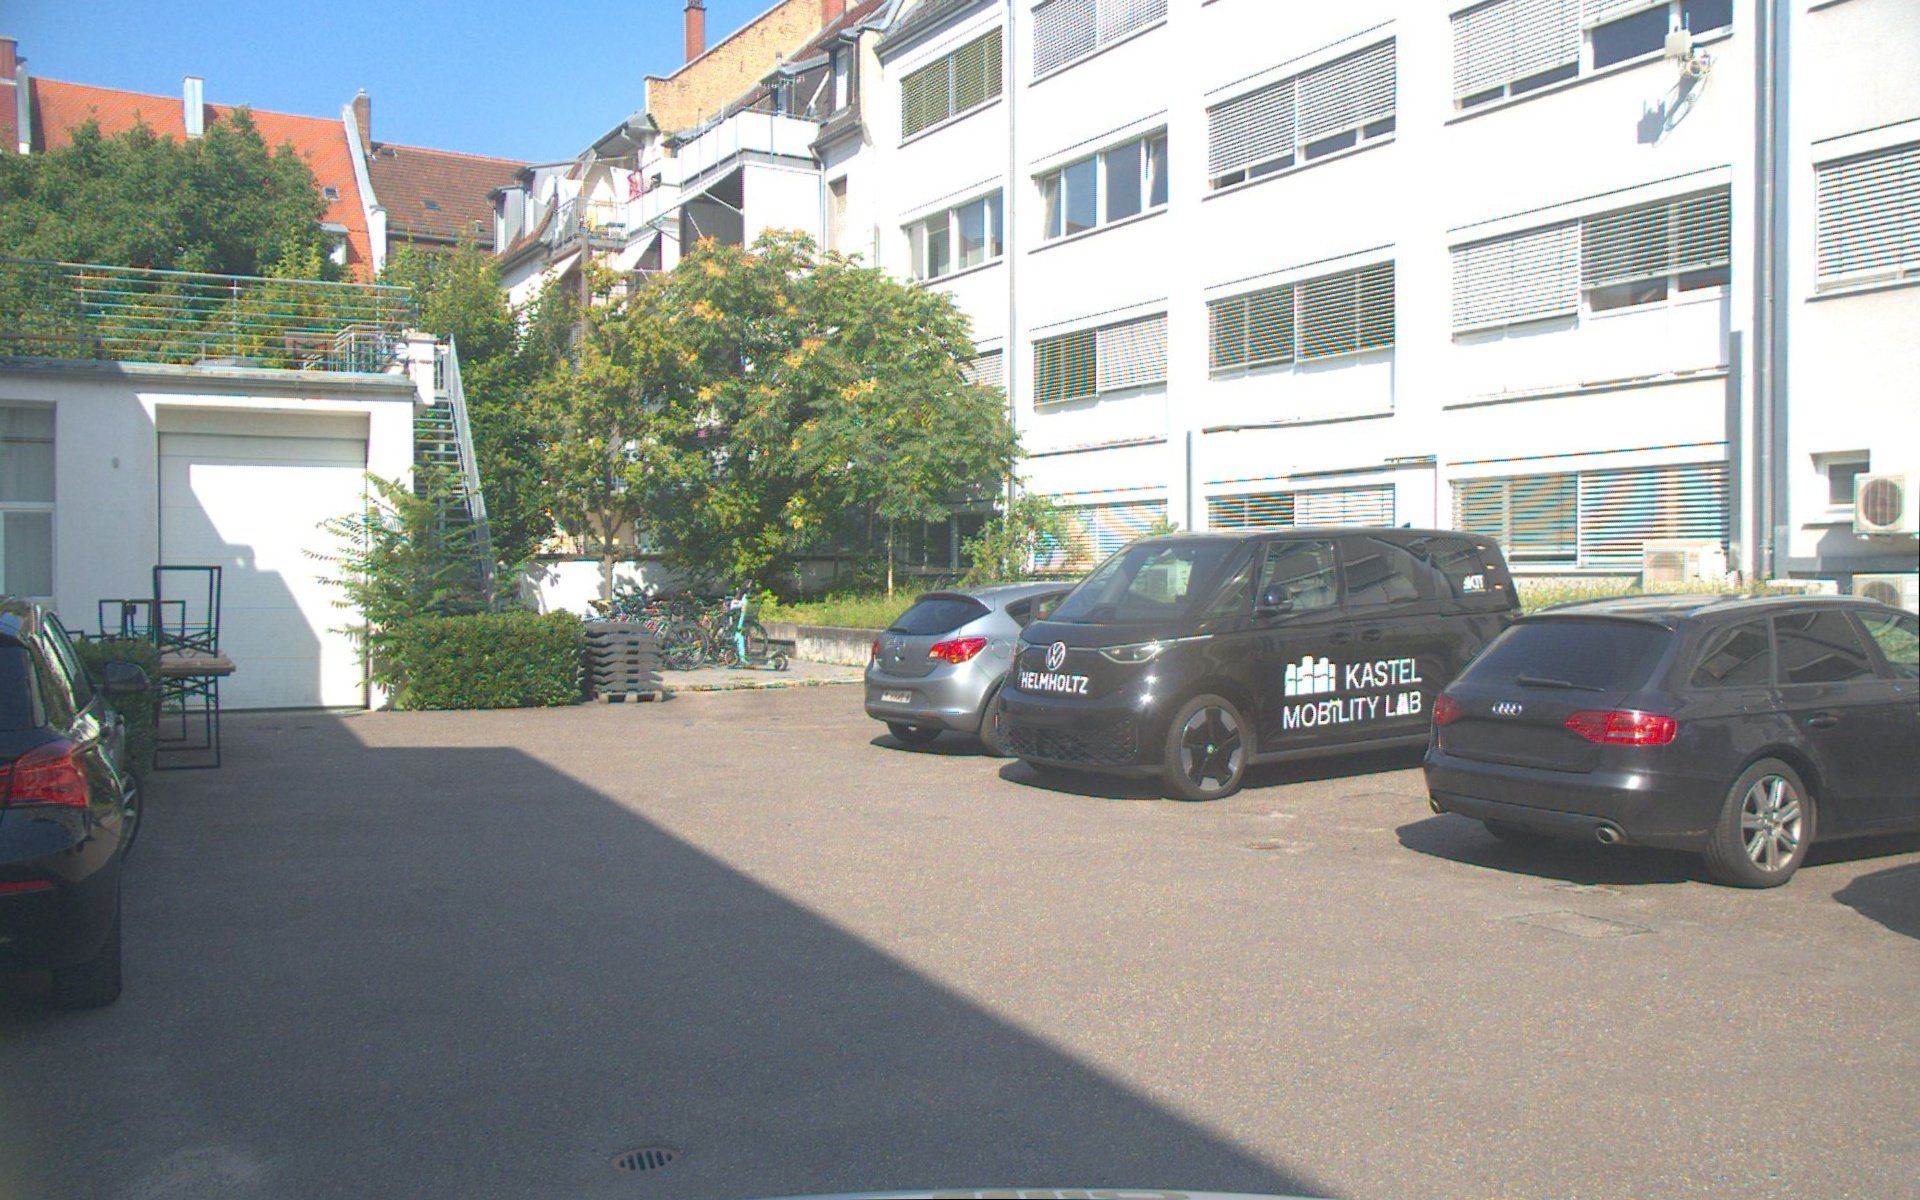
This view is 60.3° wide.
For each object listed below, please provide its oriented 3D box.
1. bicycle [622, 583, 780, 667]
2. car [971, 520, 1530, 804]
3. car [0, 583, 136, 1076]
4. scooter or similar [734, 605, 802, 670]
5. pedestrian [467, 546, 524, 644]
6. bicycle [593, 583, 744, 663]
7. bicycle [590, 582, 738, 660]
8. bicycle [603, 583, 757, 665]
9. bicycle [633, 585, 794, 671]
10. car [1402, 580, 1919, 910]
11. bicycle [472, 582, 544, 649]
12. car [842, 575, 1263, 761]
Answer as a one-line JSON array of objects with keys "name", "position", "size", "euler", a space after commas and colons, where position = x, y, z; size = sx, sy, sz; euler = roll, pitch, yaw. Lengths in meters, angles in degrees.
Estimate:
[{"name": "bicycle", "position": [-4.007, 0.376, 25.659], "size": [2.380, 1.268, 0.522], "euler": [0, 1, -26]}, {"name": "car", "position": [2.369, 0.356, 13.033], "size": [4.299, 1.891, 1.891], "euler": [-1, 2, -35]}, {"name": "car", "position": [-4.274, 0.670, 6.535], "size": [1.772, 1.453, 4.099], "euler": [0, 1, -27]}, {"name": "scooter or similar", "position": [-2.904, 0.559, 25.018], "size": [0.977, 0.940, 0.360], "euler": [1, 1, 28]}, {"name": "pedestrian", "position": [-8.704, -0.096, 31.035], "size": [0.840, 1.802, 0.612], "euler": [1, 0, 10]}, {"name": "bicycle", "position": [-4.744, 0.366, 26.959], "size": [2.381, 1.268, 0.522], "euler": [0, 1, -26]}, {"name": "bicycle", "position": [-4.919, 0.344, 27.564], "size": [2.380, 1.268, 0.522], "euler": [0, 1, -26]}, {"name": "bicycle", "position": [-4.453, 0.371, 26.365], "size": [2.380, 1.268, 0.522], "euler": [0, 1, -26]}, {"name": "bicycle", "position": [-3.721, 0.409, 25.054], "size": [2.380, 1.268, 0.522], "euler": [0, 1, -26]}, {"name": "car", "position": [4.673, 0.652, 9.366], "size": [4.182, 1.462, 1.676], "euler": [-1, 1, -27]}, {"name": "bicycle", "position": [-8.467, 0.275, 31.056], "size": [0.478, 1.163, 1.996], "euler": [0, 2, 10]}, {"name": "car", "position": [0.941, 0.534, 15.520], "size": [3.870, 1.491, 1.640], "euler": [-2, 2, -39]}]
